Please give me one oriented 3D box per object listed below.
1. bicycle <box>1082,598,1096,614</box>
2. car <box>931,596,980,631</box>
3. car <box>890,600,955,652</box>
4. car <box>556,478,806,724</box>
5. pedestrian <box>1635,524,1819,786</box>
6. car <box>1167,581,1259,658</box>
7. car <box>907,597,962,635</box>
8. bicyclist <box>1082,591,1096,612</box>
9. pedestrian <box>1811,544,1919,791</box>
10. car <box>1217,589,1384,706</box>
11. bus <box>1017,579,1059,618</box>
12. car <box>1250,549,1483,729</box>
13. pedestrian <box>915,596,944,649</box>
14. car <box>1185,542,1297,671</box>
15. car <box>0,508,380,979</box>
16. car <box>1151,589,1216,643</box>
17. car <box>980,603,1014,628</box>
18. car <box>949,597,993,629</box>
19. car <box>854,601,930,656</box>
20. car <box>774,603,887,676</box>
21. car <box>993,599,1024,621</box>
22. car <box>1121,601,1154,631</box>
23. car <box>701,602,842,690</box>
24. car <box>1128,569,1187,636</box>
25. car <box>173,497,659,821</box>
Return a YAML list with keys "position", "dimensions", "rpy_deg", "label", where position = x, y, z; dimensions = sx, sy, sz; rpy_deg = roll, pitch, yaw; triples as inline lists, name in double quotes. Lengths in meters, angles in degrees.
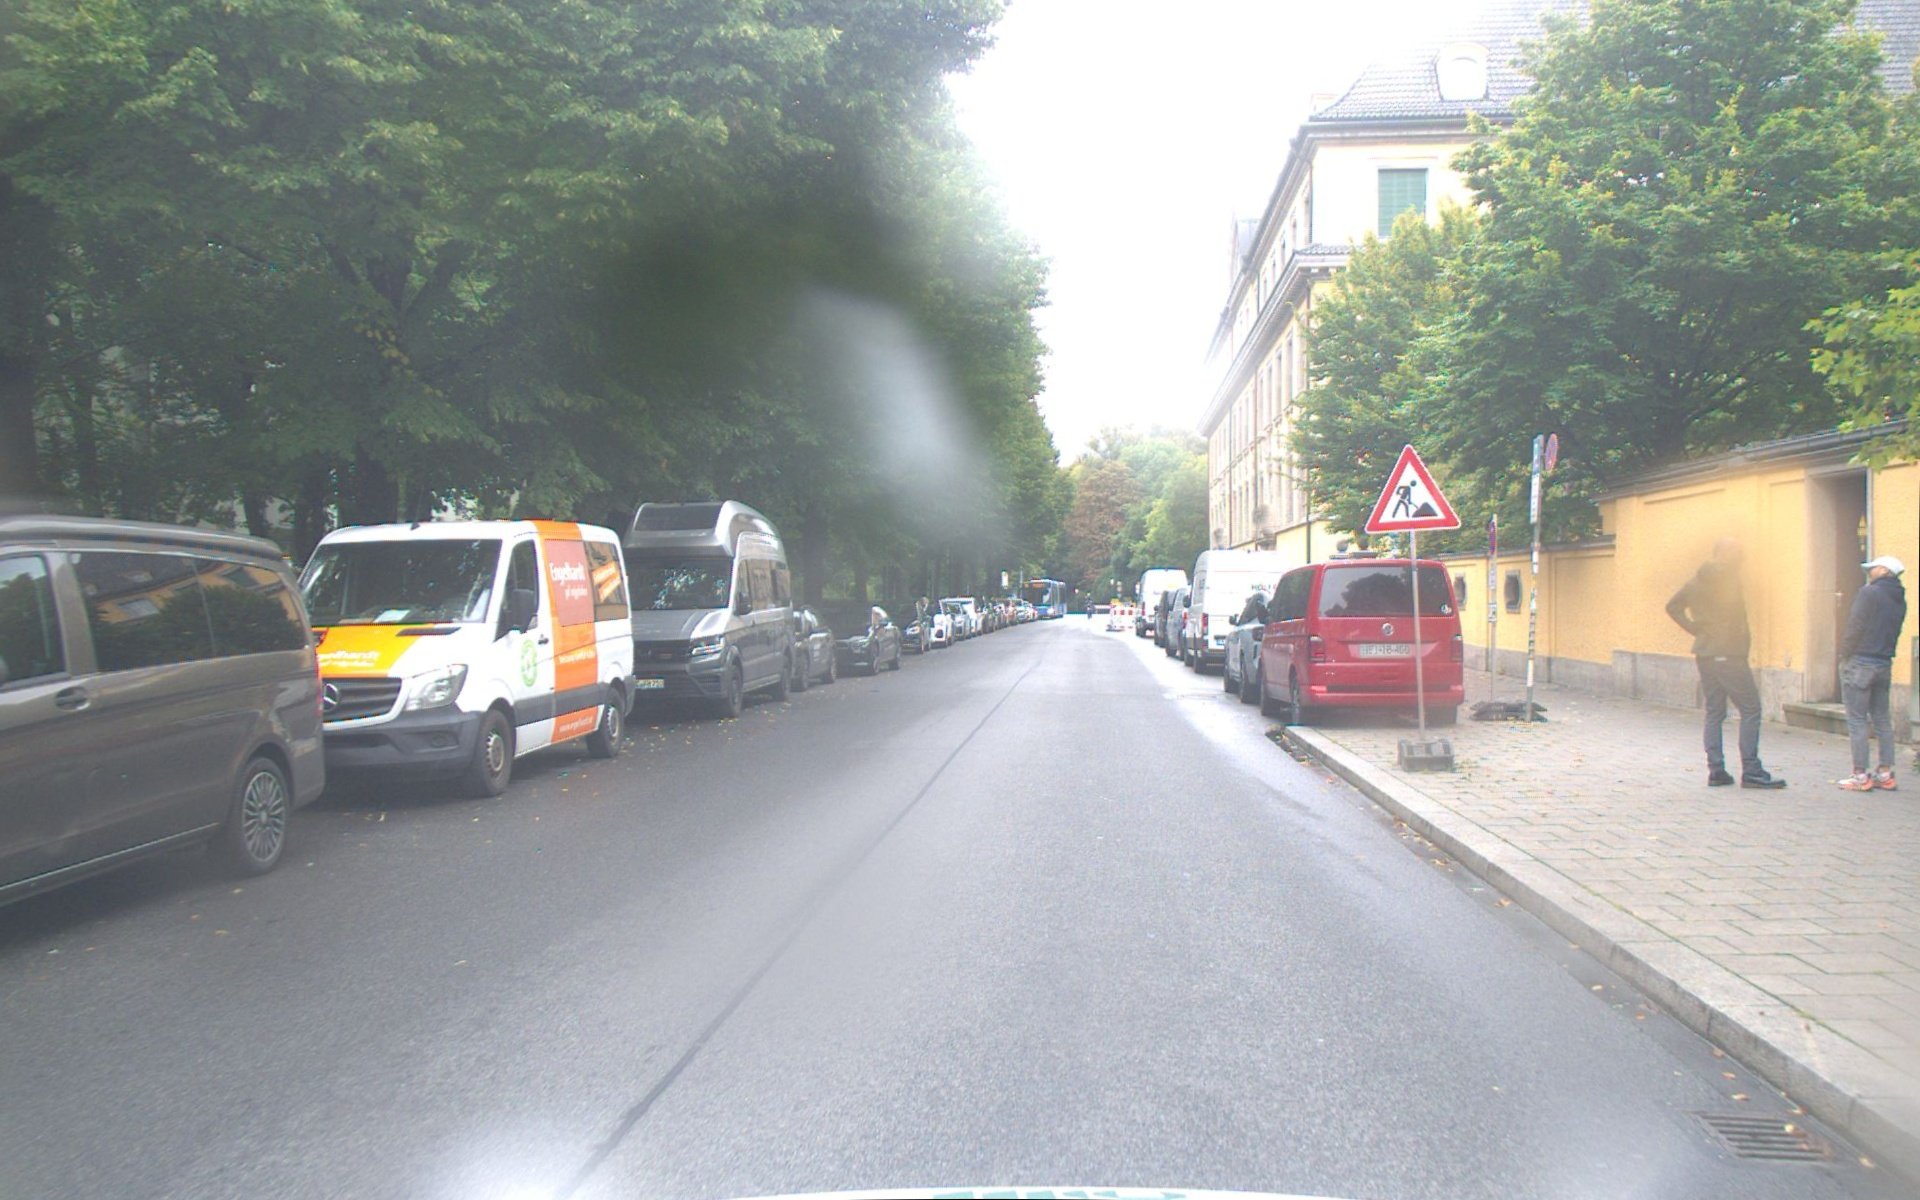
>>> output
- position: [9.729, 0.423, 124.666]
  dimensions: [0.999, 1.177, 2.487]
  rpy_deg: [0, 0, 5]
  label: "bicycle"
- position: [-0.161, 0.556, 71.026]
  dimensions: [1.952, 1.445, 4.001]
  rpy_deg: [0, 0, 2]
  label: "car"
- position: [-1.197, 0.822, 55.095]
  dimensions: [1.952, 1.648, 4.130]
  rpy_deg: [0, 0, 2]
  label: "car"
- position: [-3.782, 0.008, 23.775]
  dimensions: [2.127, 3.055, 6.236]
  rpy_deg: [0, 0, 4]
  label: "car"
- position: [5.731, 0.390, 12.394]
  dimensions: [0.808, 1.868, 0.946]
  rpy_deg: [0, 0, -23]
  label: "pedestrian"
- position: [6.562, 0.487, 43.236]
  dimensions: [1.952, 1.916, 4.001]
  rpy_deg: [0, 0, 2]
  label: "car"
- position: [-0.972, 0.605, 65.032]
  dimensions: [1.952, 1.445, 4.001]
  rpy_deg: [0, 0, 2]
  label: "car"
- position: [9.762, 0.117, 124.858]
  dimensions: [0.999, 1.572, 1.258]
  rpy_deg: [0, 0, 5]
  label: "bicyclist"
- position: [6.609, 0.462, 11.824]
  dimensions: [0.623, 1.696, 0.694]
  rpy_deg: [0, 0, -18]
  label: "pedestrian"
- position: [5.228, 0.671, 25.953]
  dimensions: [1.951, 1.663, 4.566]
  rpy_deg: [-1, 0, 4]
  label: "car"
- position: [6.244, -0.117, 132.956]
  dimensions: [2.878, 2.970, 8.238]
  rpy_deg: [0, 0, -1]
  label: "bus"
- position: [4.885, 0.427, 20.597]
  dimensions: [1.871, 1.971, 4.971]
  rpy_deg: [0, 0, 2]
  label: "car"
- position: [-0.959, 0.690, 51.430]
  dimensions: [0.866, 1.626, 0.823]
  rpy_deg: [0, 0, -3]
  label: "pedestrian"
- position: [6.073, 0.134, 36.325]
  dimensions: [1.951, 2.603, 5.433]
  rpy_deg: [0, 0, 5]
  label: "car"
- position: [-4.912, 0.617, 7.894]
  dimensions: [1.984, 1.941, 5.669]
  rpy_deg: [-2, 0, 3]
  label: "car"
- position: [7.318, 0.496, 54.399]
  dimensions: [1.757, 1.708, 4.001]
  rpy_deg: [0, 0, 2]
  label: "car"
- position: [2.243, 0.934, 99.731]
  dimensions: [1.952, 1.445, 4.001]
  rpy_deg: [0, 0, 2]
  label: "car"
- position: [0.543, 0.572, 77.274]
  dimensions: [1.952, 1.445, 4.001]
  rpy_deg: [0, 0, 2]
  label: "car"
- position: [-1.960, 0.803, 48.646]
  dimensions: [1.952, 1.513, 4.130]
  rpy_deg: [0, 0, 2]
  label: "car"
- position: [-2.681, 0.787, 35.027]
  dimensions: [1.952, 1.445, 4.130]
  rpy_deg: [0, 0, 2]
  label: "car"
- position: [3.194, 0.651, 108.997]
  dimensions: [1.952, 1.445, 4.001]
  rpy_deg: [0, 0, 2]
  label: "car"
- position: [10.658, 0.934, 99.069]
  dimensions: [1.766, 1.767, 4.003]
  rpy_deg: [0, 0, 8]
  label: "car"
- position: [-3.288, 0.774, 29.567]
  dimensions: [1.952, 1.445, 4.001]
  rpy_deg: [0, 0, 2]
  label: "car"
- position: [8.060, 0.093, 67.698]
  dimensions: [1.802, 2.668, 4.383]
  rpy_deg: [0, 0, -1]
  label: "car"
- position: [-4.503, 0.432, 14.897]
  dimensions: [2.040, 2.304, 5.606]
  rpy_deg: [-2, 0, 5]
  label: "car"
